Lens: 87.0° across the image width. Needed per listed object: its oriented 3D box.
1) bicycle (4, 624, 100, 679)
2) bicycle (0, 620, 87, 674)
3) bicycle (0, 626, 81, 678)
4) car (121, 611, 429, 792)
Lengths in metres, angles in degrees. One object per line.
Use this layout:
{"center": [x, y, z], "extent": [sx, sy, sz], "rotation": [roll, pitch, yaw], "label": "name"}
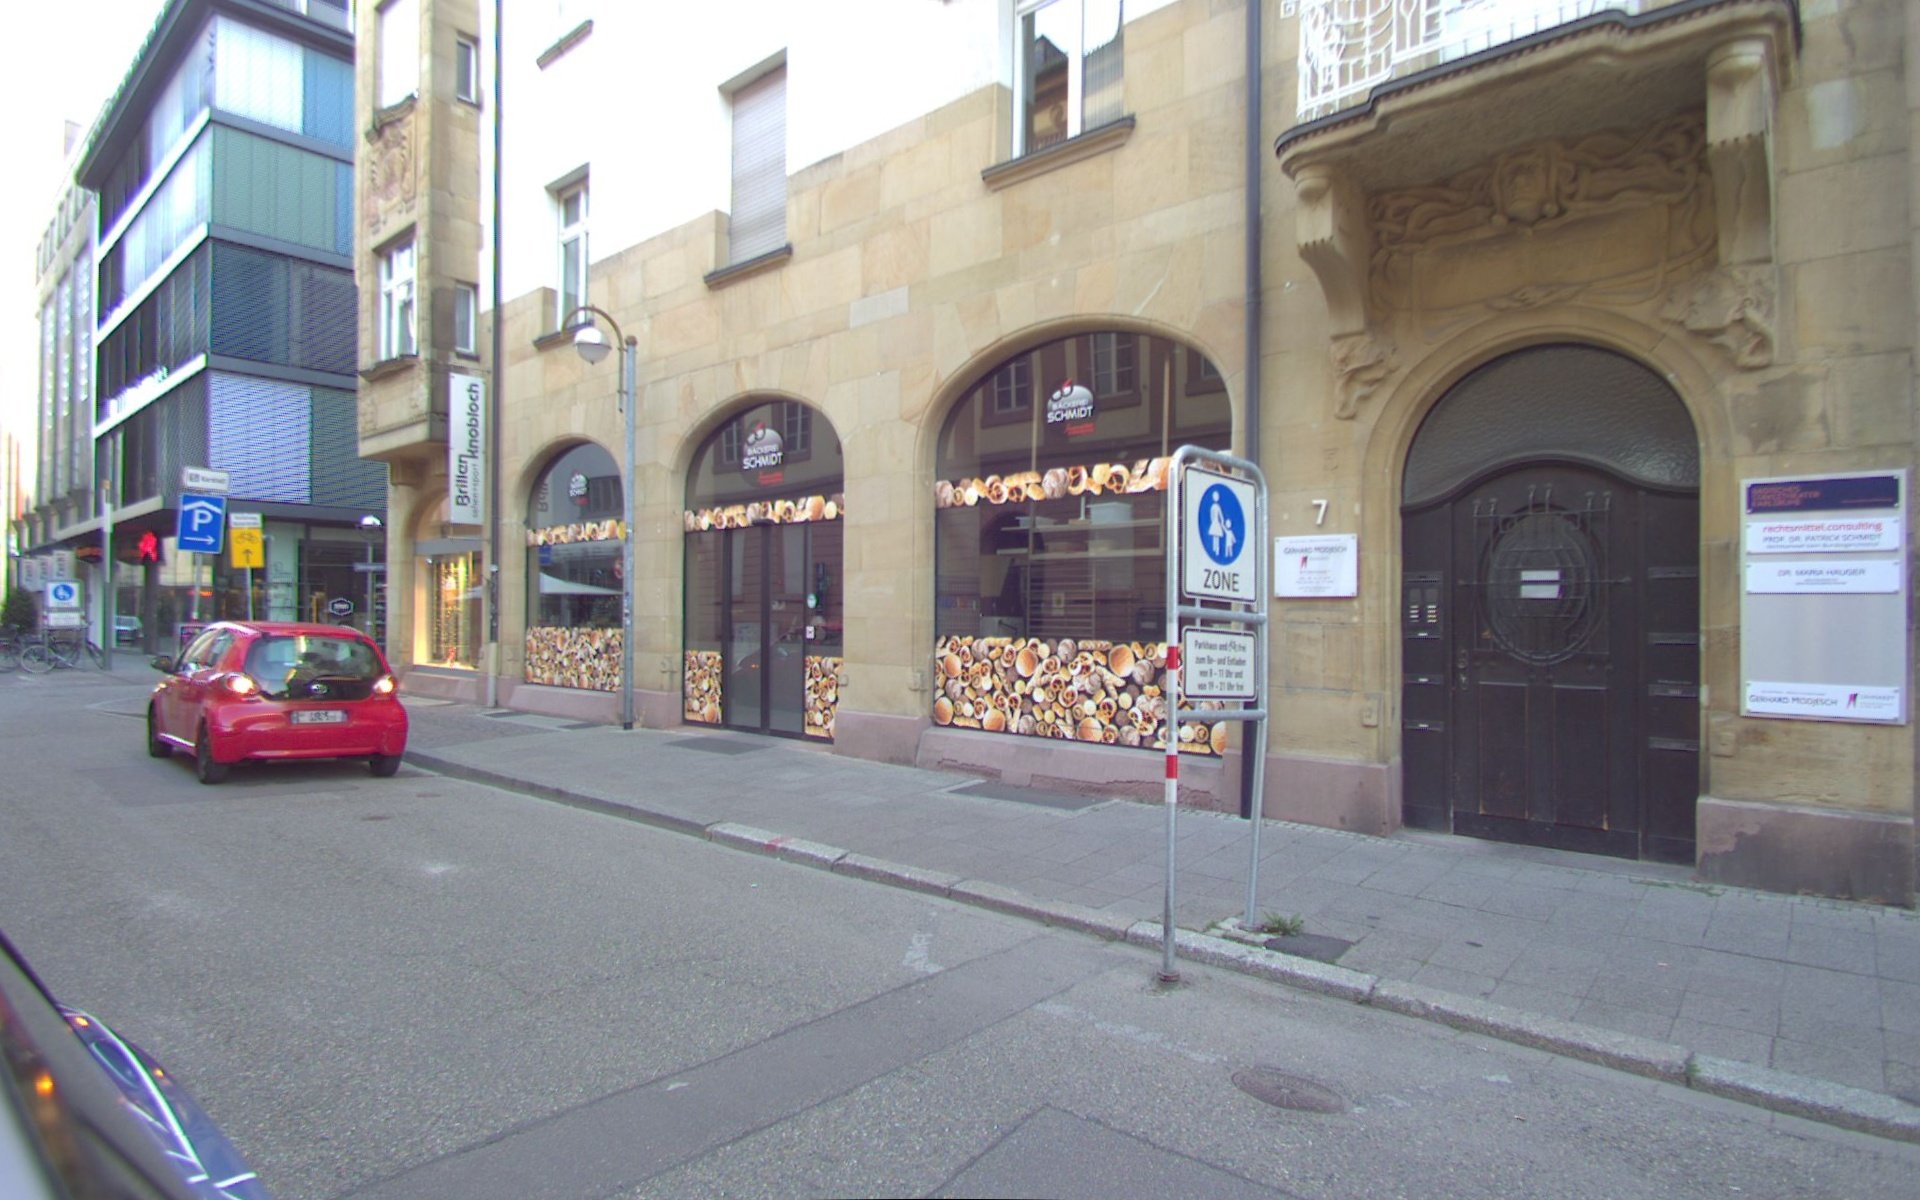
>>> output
{"center": [-21.759, 1.210, 24.268], "extent": [0.509, 1.213, 1.648], "rotation": [-1, 0, 40], "label": "bicycle"}
{"center": [-24.789, 1.247, 27.208], "extent": [0.538, 1.279, 1.878], "rotation": [-1, 3, 41], "label": "bicycle"}
{"center": [-23.009, 1.283, 25.008], "extent": [0.517, 1.190, 1.878], "rotation": [-3, -1, 40], "label": "bicycle"}
{"center": [-7.103, 0.925, 10.344], "extent": [3.931, 1.481, 1.640], "rotation": [0, -5, 43], "label": "car"}
